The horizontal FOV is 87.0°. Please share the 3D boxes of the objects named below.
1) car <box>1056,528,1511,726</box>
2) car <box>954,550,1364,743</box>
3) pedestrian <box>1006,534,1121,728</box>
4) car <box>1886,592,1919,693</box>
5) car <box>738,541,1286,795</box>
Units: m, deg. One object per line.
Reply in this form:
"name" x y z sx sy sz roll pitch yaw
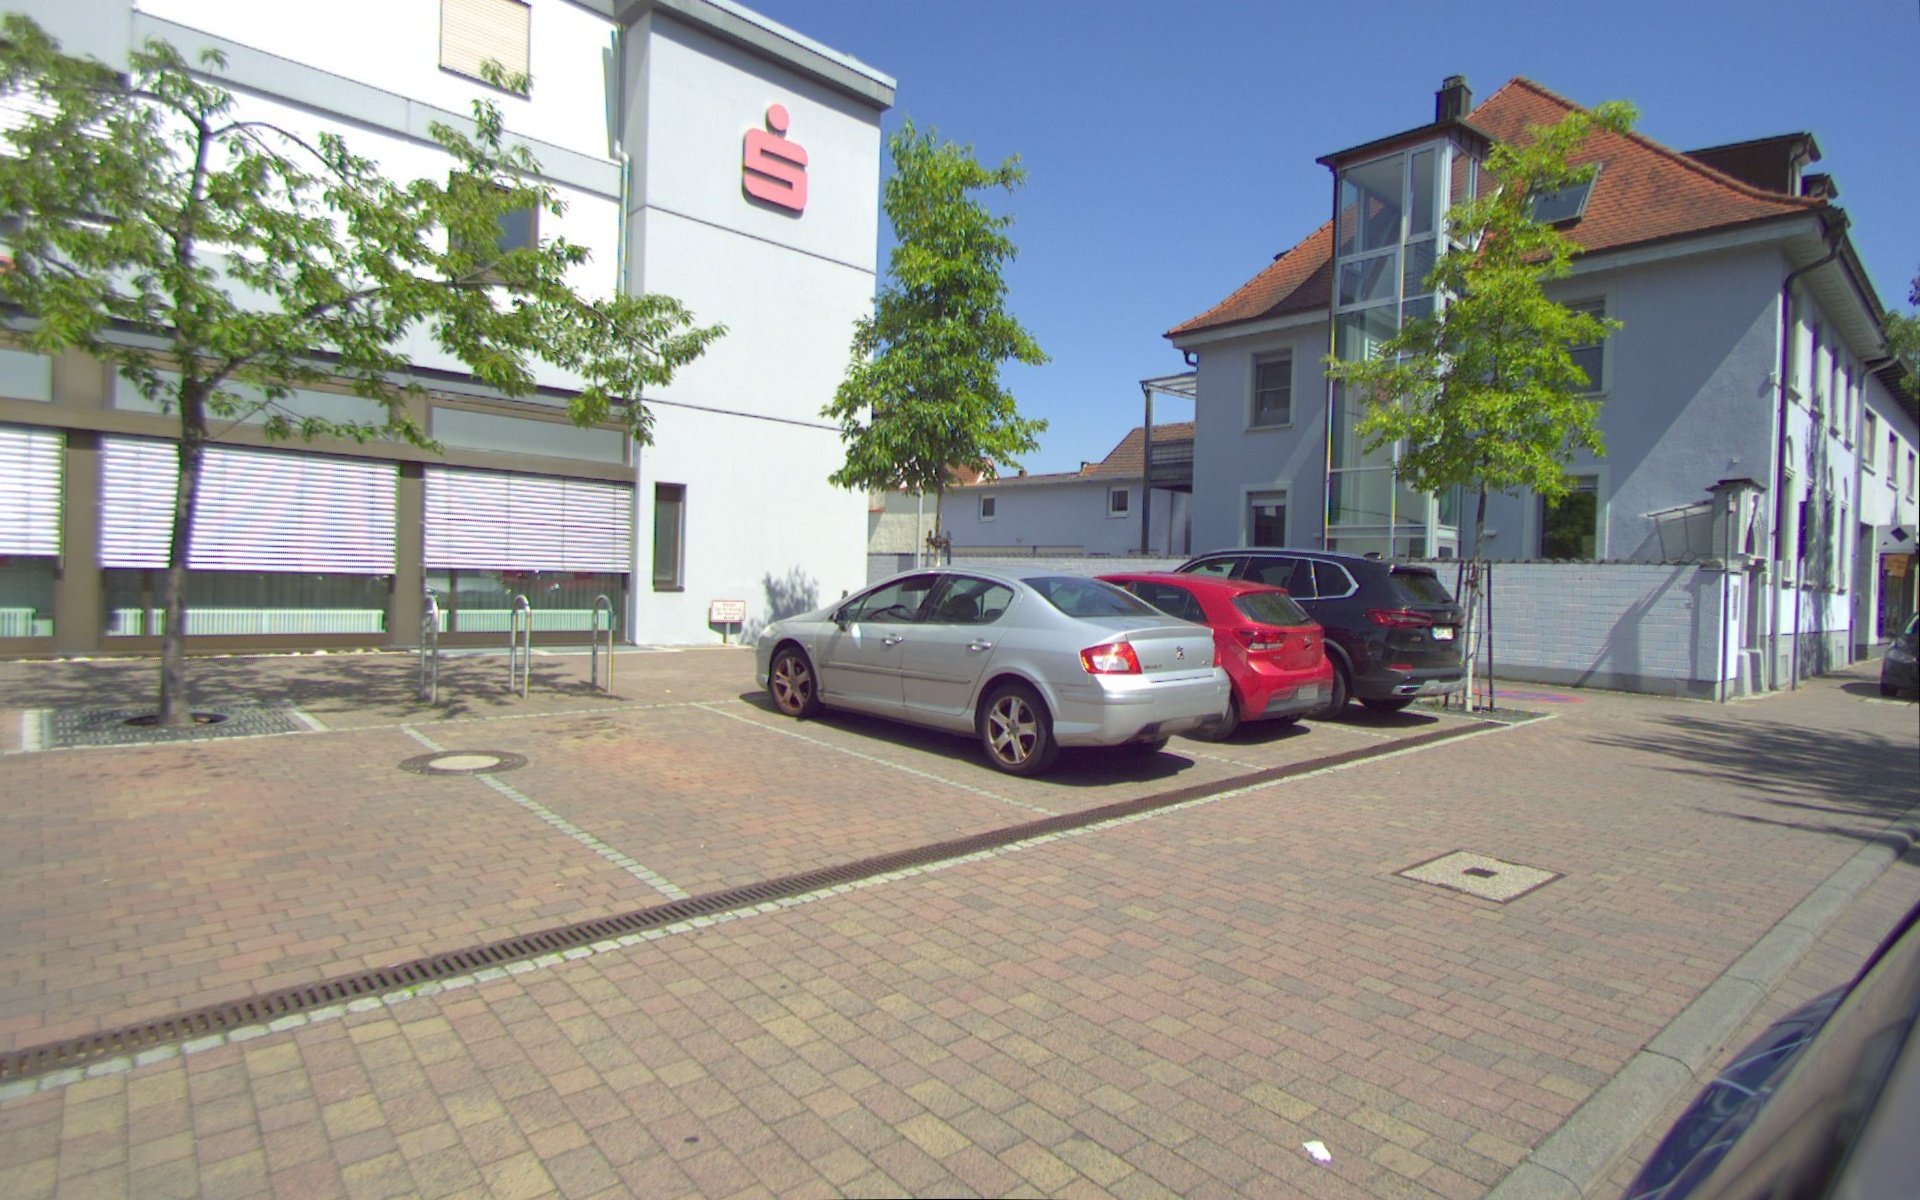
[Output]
"car" 3.601 0.155 11.986 2.111 1.792 4.639 2 3 -42
"car" 1.881 0.330 10.319 3.732 1.470 1.717 6 3 44
"pedestrian" 0.986 0.265 9.639 0.749 1.738 0.688 5 3 43
"car" 16.260 0.700 16.160 3.853 1.499 1.707 0 3 -41
"car" 0.178 0.338 8.555 4.539 1.458 1.810 6 3 44
